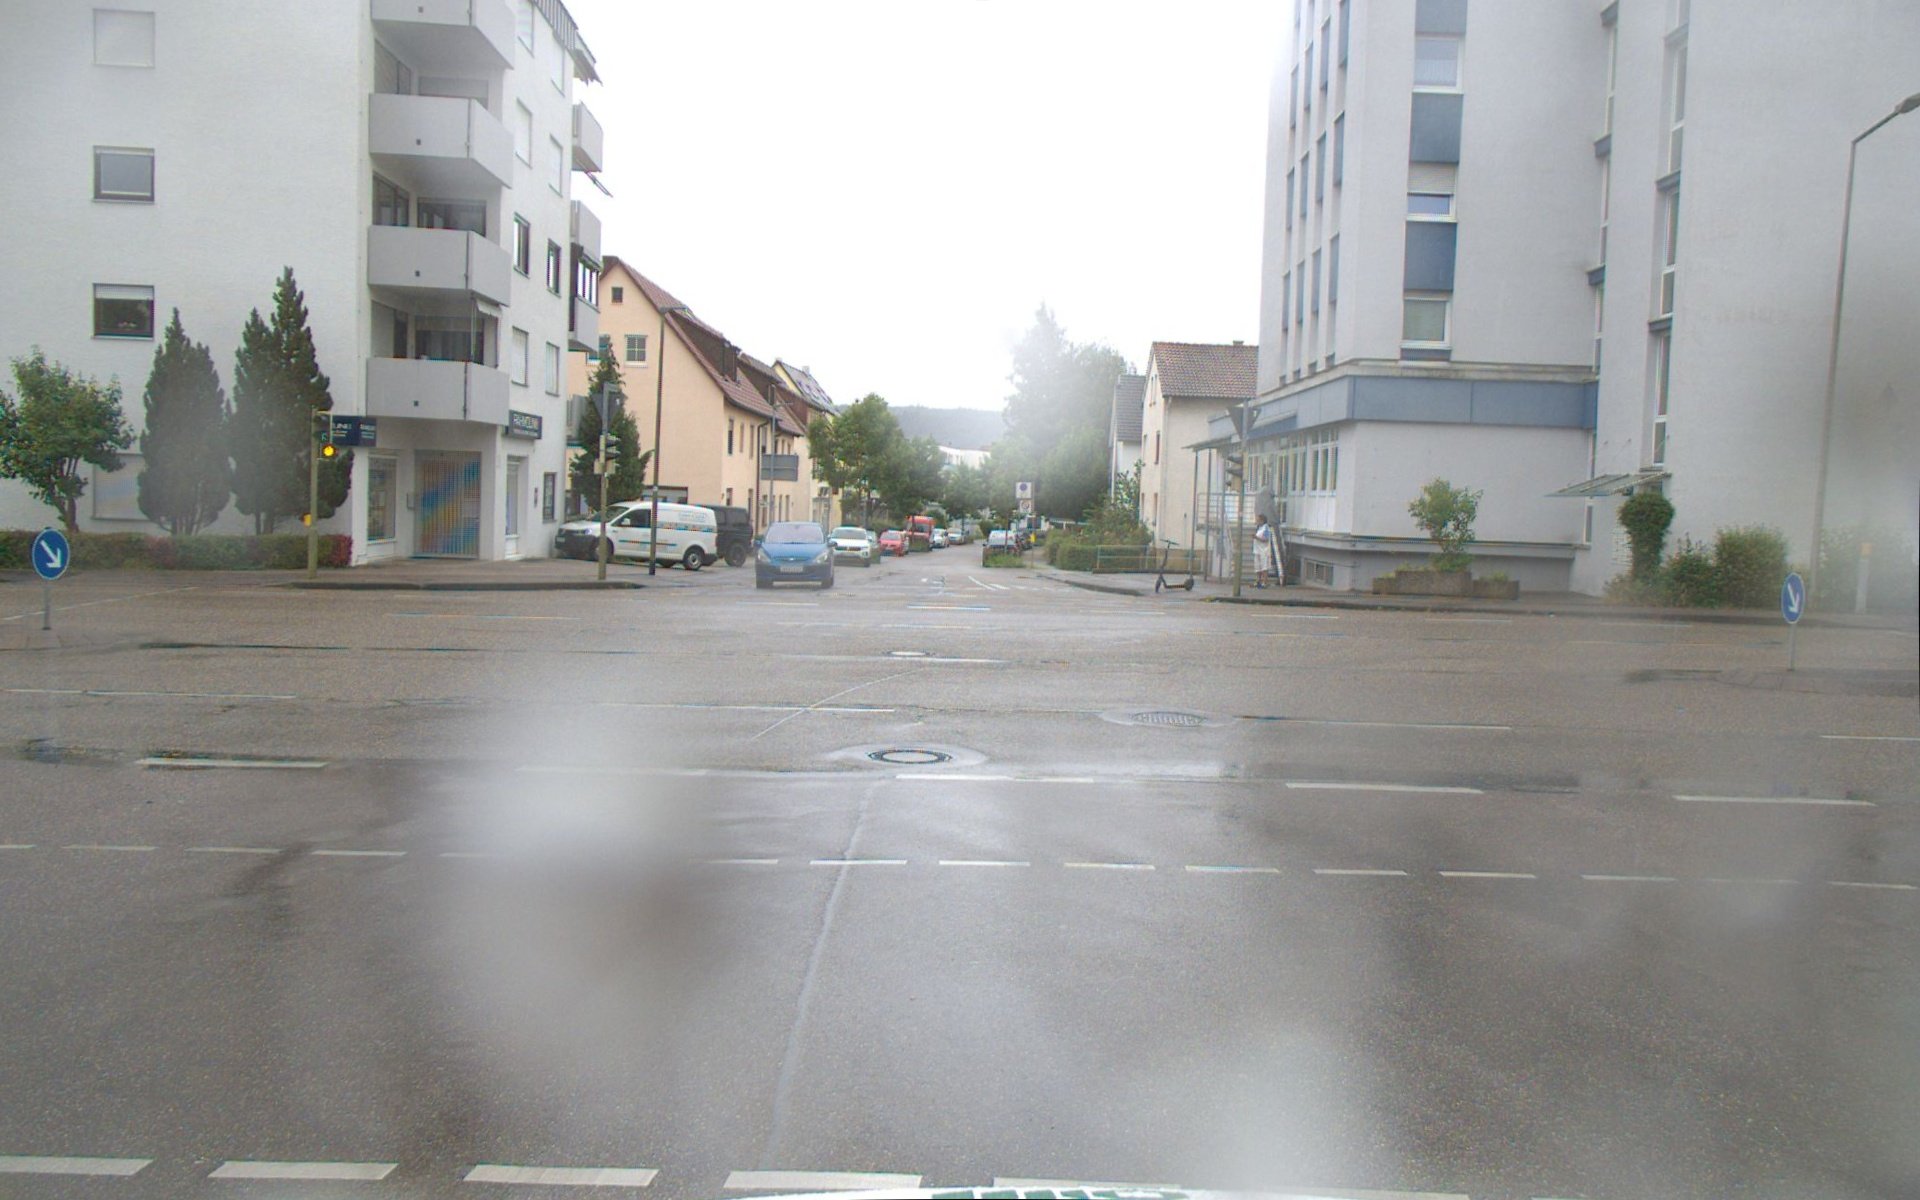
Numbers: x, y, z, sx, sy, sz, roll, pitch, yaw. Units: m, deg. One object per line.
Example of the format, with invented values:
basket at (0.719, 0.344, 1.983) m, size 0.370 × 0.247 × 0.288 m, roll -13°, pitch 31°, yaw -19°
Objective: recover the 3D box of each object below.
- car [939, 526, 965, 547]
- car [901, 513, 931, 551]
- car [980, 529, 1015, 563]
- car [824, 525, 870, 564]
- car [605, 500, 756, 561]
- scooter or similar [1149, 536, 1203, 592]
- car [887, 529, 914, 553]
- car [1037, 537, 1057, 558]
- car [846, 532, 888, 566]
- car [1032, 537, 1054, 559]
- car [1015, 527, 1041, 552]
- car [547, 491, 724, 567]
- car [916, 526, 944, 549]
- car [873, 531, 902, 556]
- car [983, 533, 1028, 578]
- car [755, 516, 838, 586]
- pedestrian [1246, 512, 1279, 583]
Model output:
car at (-0.762, -5.950, 154.538) m, size 1.951 × 1.736 × 4.003 m, roll 1°, pitch 0°, yaw 6°
car at (-3.363, -5.227, 127.238) m, size 2.171 × 2.816 × 5.725 m, roll 0°, pitch 2°, yaw -1°
car at (2.371, -3.379, 103.674) m, size 1.951 × 2.048 × 4.003 m, roll 1°, pitch 2°, yaw 4°
car at (-4.606, -2.269, 67.795) m, size 1.732 × 1.549 × 3.999 m, roll 0°, pitch 2°, yaw -2°
car at (-9.169, -2.261, 54.433) m, size 4.578 × 1.921 × 1.935 m, roll -1°, pitch 2°, yaw -40°
scooter or similar at (5.042, -0.833, 38.627) m, size 1.039 × 1.249 × 0.800 m, roll 1°, pitch 0°, yaw -10°
car at (-4.091, -4.013, 112.580) m, size 1.732 × 1.545 × 3.998 m, roll 0°, pitch 2°, yaw -3°
car at (9.011, -5.429, 170.614) m, size 1.951 × 2.048 × 4.003 m, roll 1°, pitch 2°, yaw 4°
car at (-4.438, -2.449, 79.422) m, size 1.731 × 1.545 × 4.195 m, roll 1°, pitch 2°, yaw 0°
car at (8.148, -5.108, 162.095) m, size 1.951 × 2.048 × 4.003 m, roll 1°, pitch 2°, yaw 4°
car at (5.671, -5.019, 137.874) m, size 1.951 × 2.048 × 4.003 m, roll 1°, pitch 2°, yaw 4°
car at (-9.268, -1.996, 47.458) m, size 4.684 × 1.809 × 1.748 m, roll 3°, pitch 0°, yaw -40°
car at (-2.503, -5.210, 138.858) m, size 1.951 × 1.713 × 4.002 m, roll 1°, pitch 0°, yaw 4°
car at (-4.585, -3.557, 104.265) m, size 1.732 × 1.545 × 3.998 m, roll 0°, pitch 2°, yaw -3°
car at (2.260, -2.161, 81.488) m, size 1.951 × 2.049 × 4.002 m, roll 1°, pitch 0°, yaw 4°
car at (-3.760, -1.092, 38.501) m, size 1.732 × 1.471 × 3.997 m, roll 1°, pitch 0°, yaw -3°
pedestrian at (7.269, -1.253, 39.744) m, size 0.641 × 1.680 × 0.646 m, roll 1°, pitch -1°, yaw 0°
